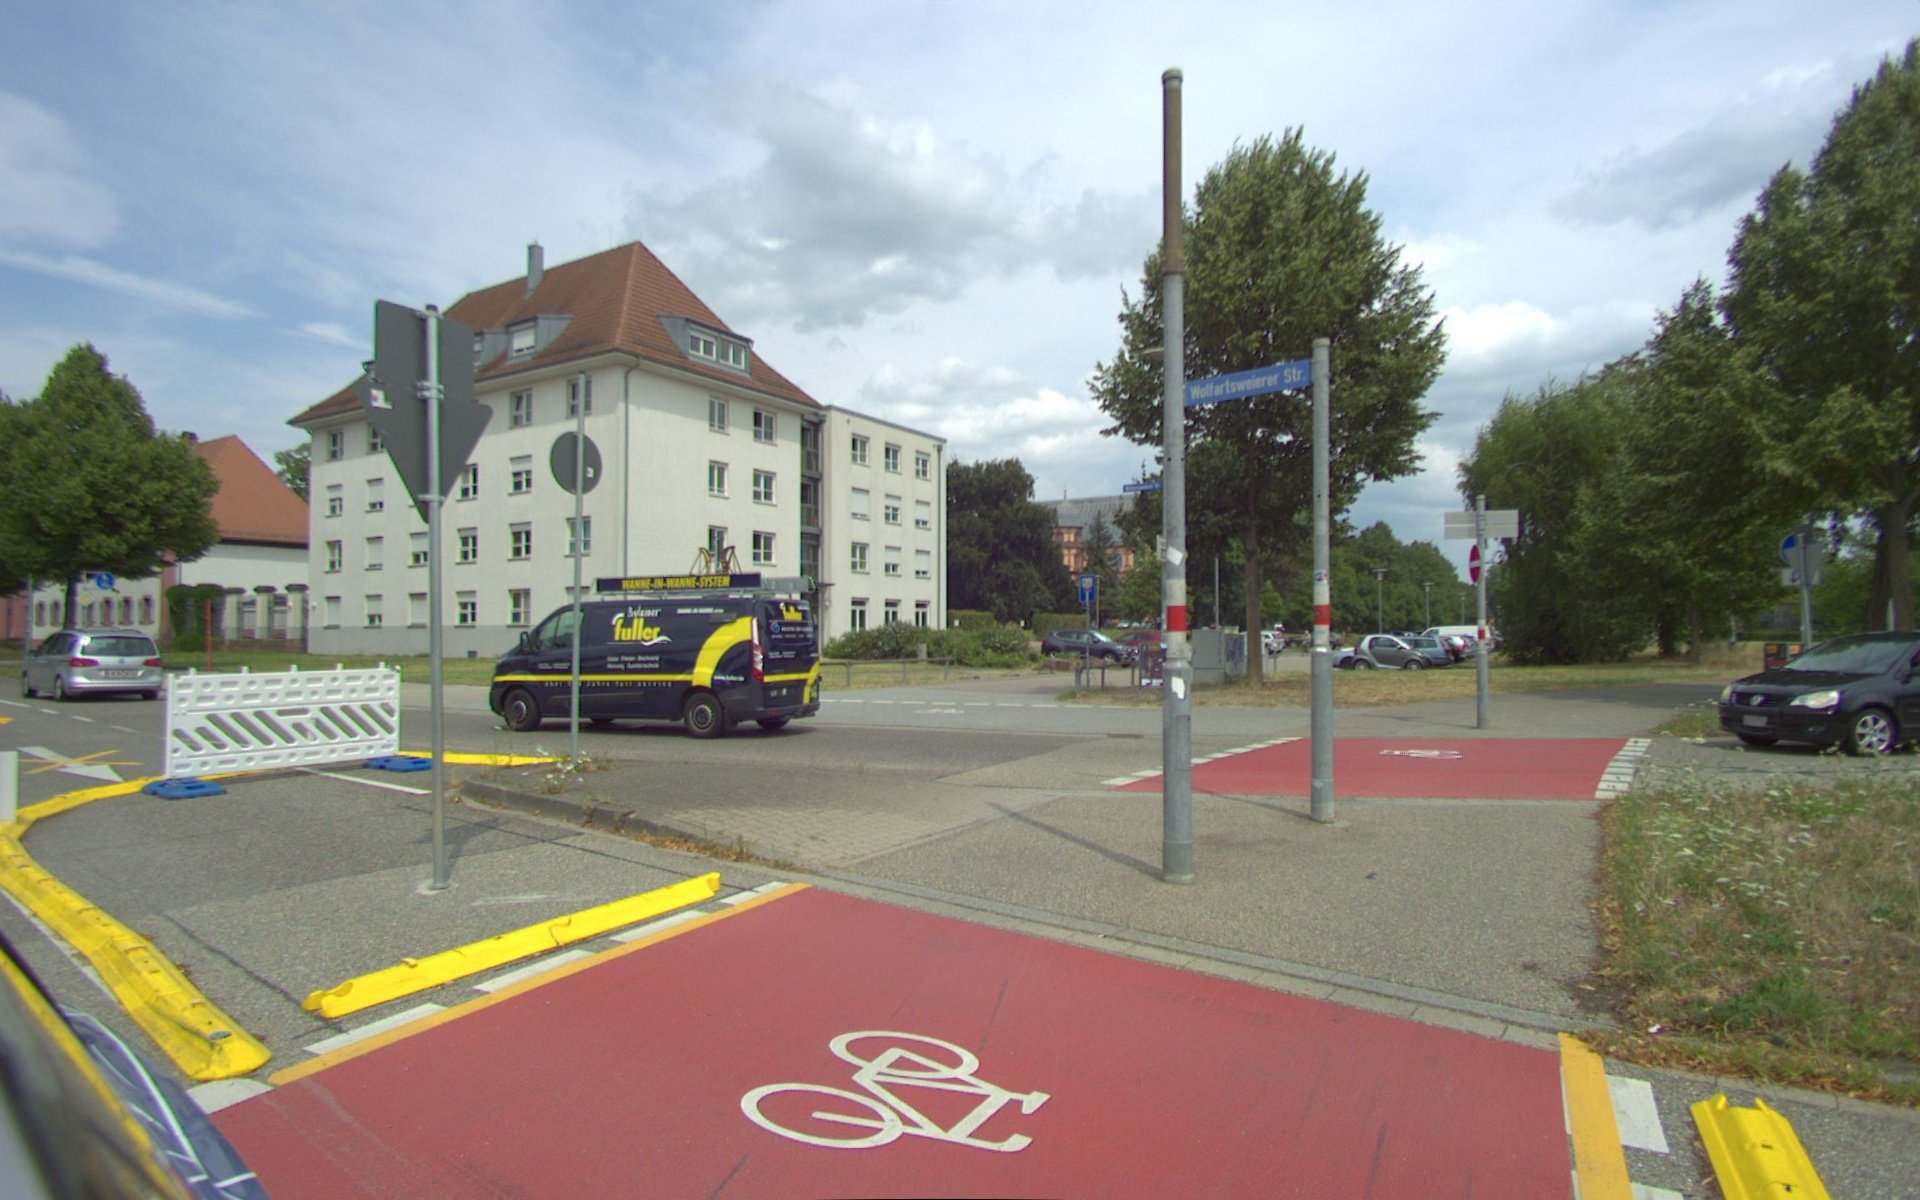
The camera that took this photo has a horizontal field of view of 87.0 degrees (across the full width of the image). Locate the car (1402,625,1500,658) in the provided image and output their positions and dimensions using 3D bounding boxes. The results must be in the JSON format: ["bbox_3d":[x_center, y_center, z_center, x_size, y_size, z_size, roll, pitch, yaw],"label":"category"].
[{"bbox_3d":[31.686,2.665,65.404,5.548,2.072,2.178,-1,-2,30],"label":"car"}]

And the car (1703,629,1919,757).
[{"bbox_3d":[11.432,1.084,12.277,3.664,1.426,1.634,0,-3,-5],"label":"car"}]

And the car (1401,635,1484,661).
[{"bbox_3d":[29.121,2.891,61.100,4.298,1.482,1.813,-1,-2,33],"label":"car"}]

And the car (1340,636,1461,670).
[{"bbox_3d":[20.107,2.399,46.254,4.873,1.482,1.813,-1,-2,33],"label":"car"}]

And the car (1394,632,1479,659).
[{"bbox_3d":[27.730,2.628,58.912,4.298,1.482,1.813,-1,-2,33],"label":"car"}]

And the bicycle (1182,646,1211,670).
[{"bbox_3d":[11.018,2.698,47.154,0.601,1.054,1.805,-2,-3,39],"label":"bicycle"}]

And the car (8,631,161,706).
[{"bbox_3d":[-20.990,1.584,24.210,4.739,1.635,1.779,-2,-2,37],"label":"car"}]

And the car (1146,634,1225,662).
[{"bbox_3d":[12.451,2.654,55.977,3.993,1.479,1.598,-1,-2,31],"label":"car"}]

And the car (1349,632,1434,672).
[{"bbox_3d":[16.772,2.040,39.354,2.900,1.434,1.471,-4,-4,26],"label":"car"}]

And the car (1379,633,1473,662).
[{"bbox_3d":[25.072,2.545,54.497,4.373,1.482,1.813,-1,-2,33],"label":"car"}]

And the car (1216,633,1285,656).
[{"bbox_3d":[19.038,2.887,66.393,3.993,1.479,1.798,-1,-2,31],"label":"car"}]

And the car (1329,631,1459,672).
[{"bbox_3d":[17.827,2.129,41.654,4.687,1.482,1.815,-4,-3,30],"label":"car"}]

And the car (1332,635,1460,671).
[{"bbox_3d":[18.984,2.279,44.155,4.873,1.482,1.813,-1,-2,33],"label":"car"}]

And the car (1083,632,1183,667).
[{"bbox_3d":[8.395,2.369,49.274,4.394,1.610,1.977,-1,-2,33],"label":"car"}]

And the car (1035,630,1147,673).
[{"bbox_3d":[5.742,2.246,44.518,4.484,1.778,1.979,-1,-2,31],"label":"car"}]

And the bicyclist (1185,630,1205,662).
[{"bbox_3d":[10.960,2.141,47.099,0.601,1.434,0.793,-2,-3,39],"label":"bicyclist"}]

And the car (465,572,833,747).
[{"bbox_3d":[-4.624,0.849,15.085,5.121,2.290,1.987,-1,-2,20],"label":"car"}]
